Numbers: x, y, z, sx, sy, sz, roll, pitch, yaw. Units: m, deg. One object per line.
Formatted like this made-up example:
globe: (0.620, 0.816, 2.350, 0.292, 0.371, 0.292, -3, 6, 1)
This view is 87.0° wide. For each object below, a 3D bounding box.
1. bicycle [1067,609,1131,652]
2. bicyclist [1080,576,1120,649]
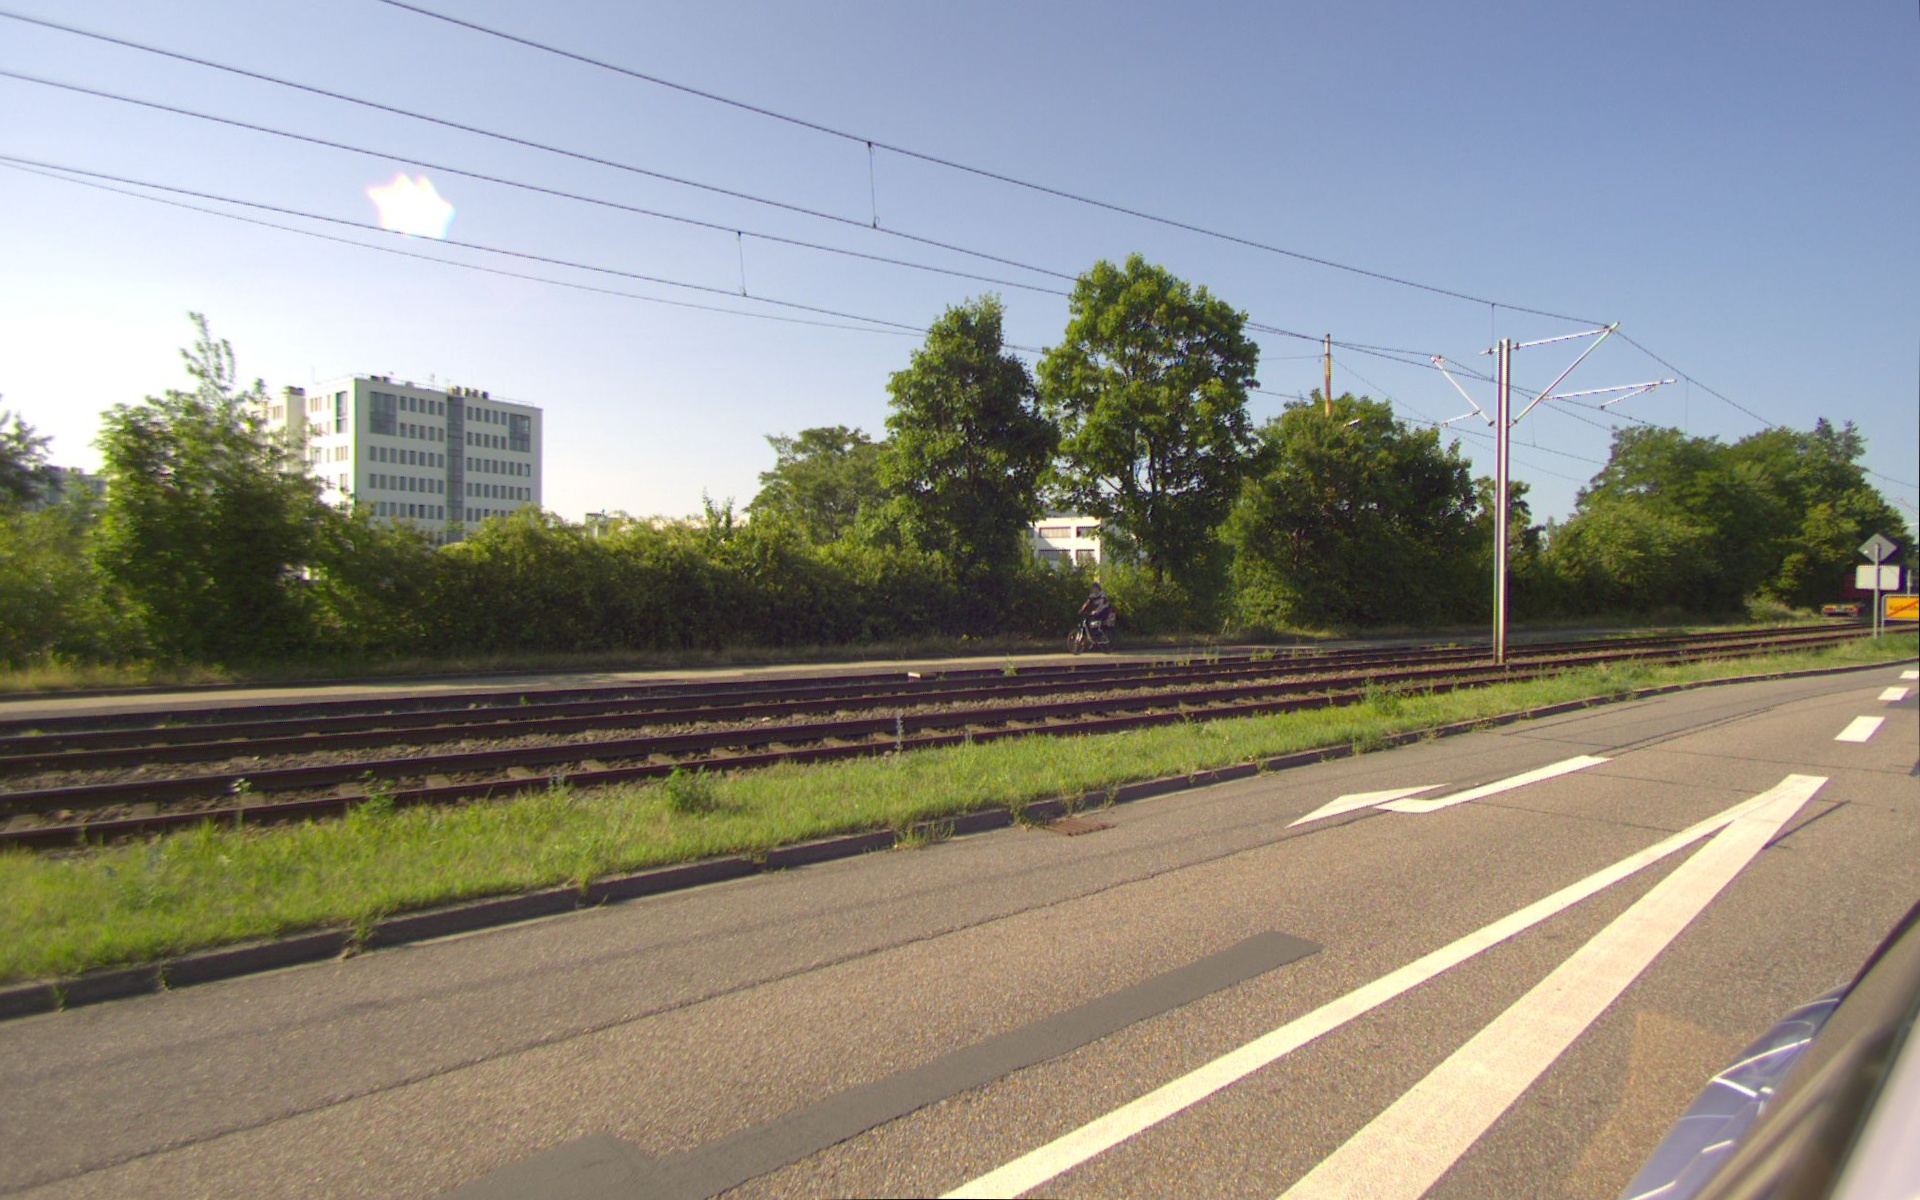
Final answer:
bicycle: (3.601, 0.774, 26.166, 1.840, 1.060, 0.547, 0, 1, -39)
bicyclist: (3.619, 0.311, 26.144, 0.705, 1.830, 0.708, 0, 1, -39)
